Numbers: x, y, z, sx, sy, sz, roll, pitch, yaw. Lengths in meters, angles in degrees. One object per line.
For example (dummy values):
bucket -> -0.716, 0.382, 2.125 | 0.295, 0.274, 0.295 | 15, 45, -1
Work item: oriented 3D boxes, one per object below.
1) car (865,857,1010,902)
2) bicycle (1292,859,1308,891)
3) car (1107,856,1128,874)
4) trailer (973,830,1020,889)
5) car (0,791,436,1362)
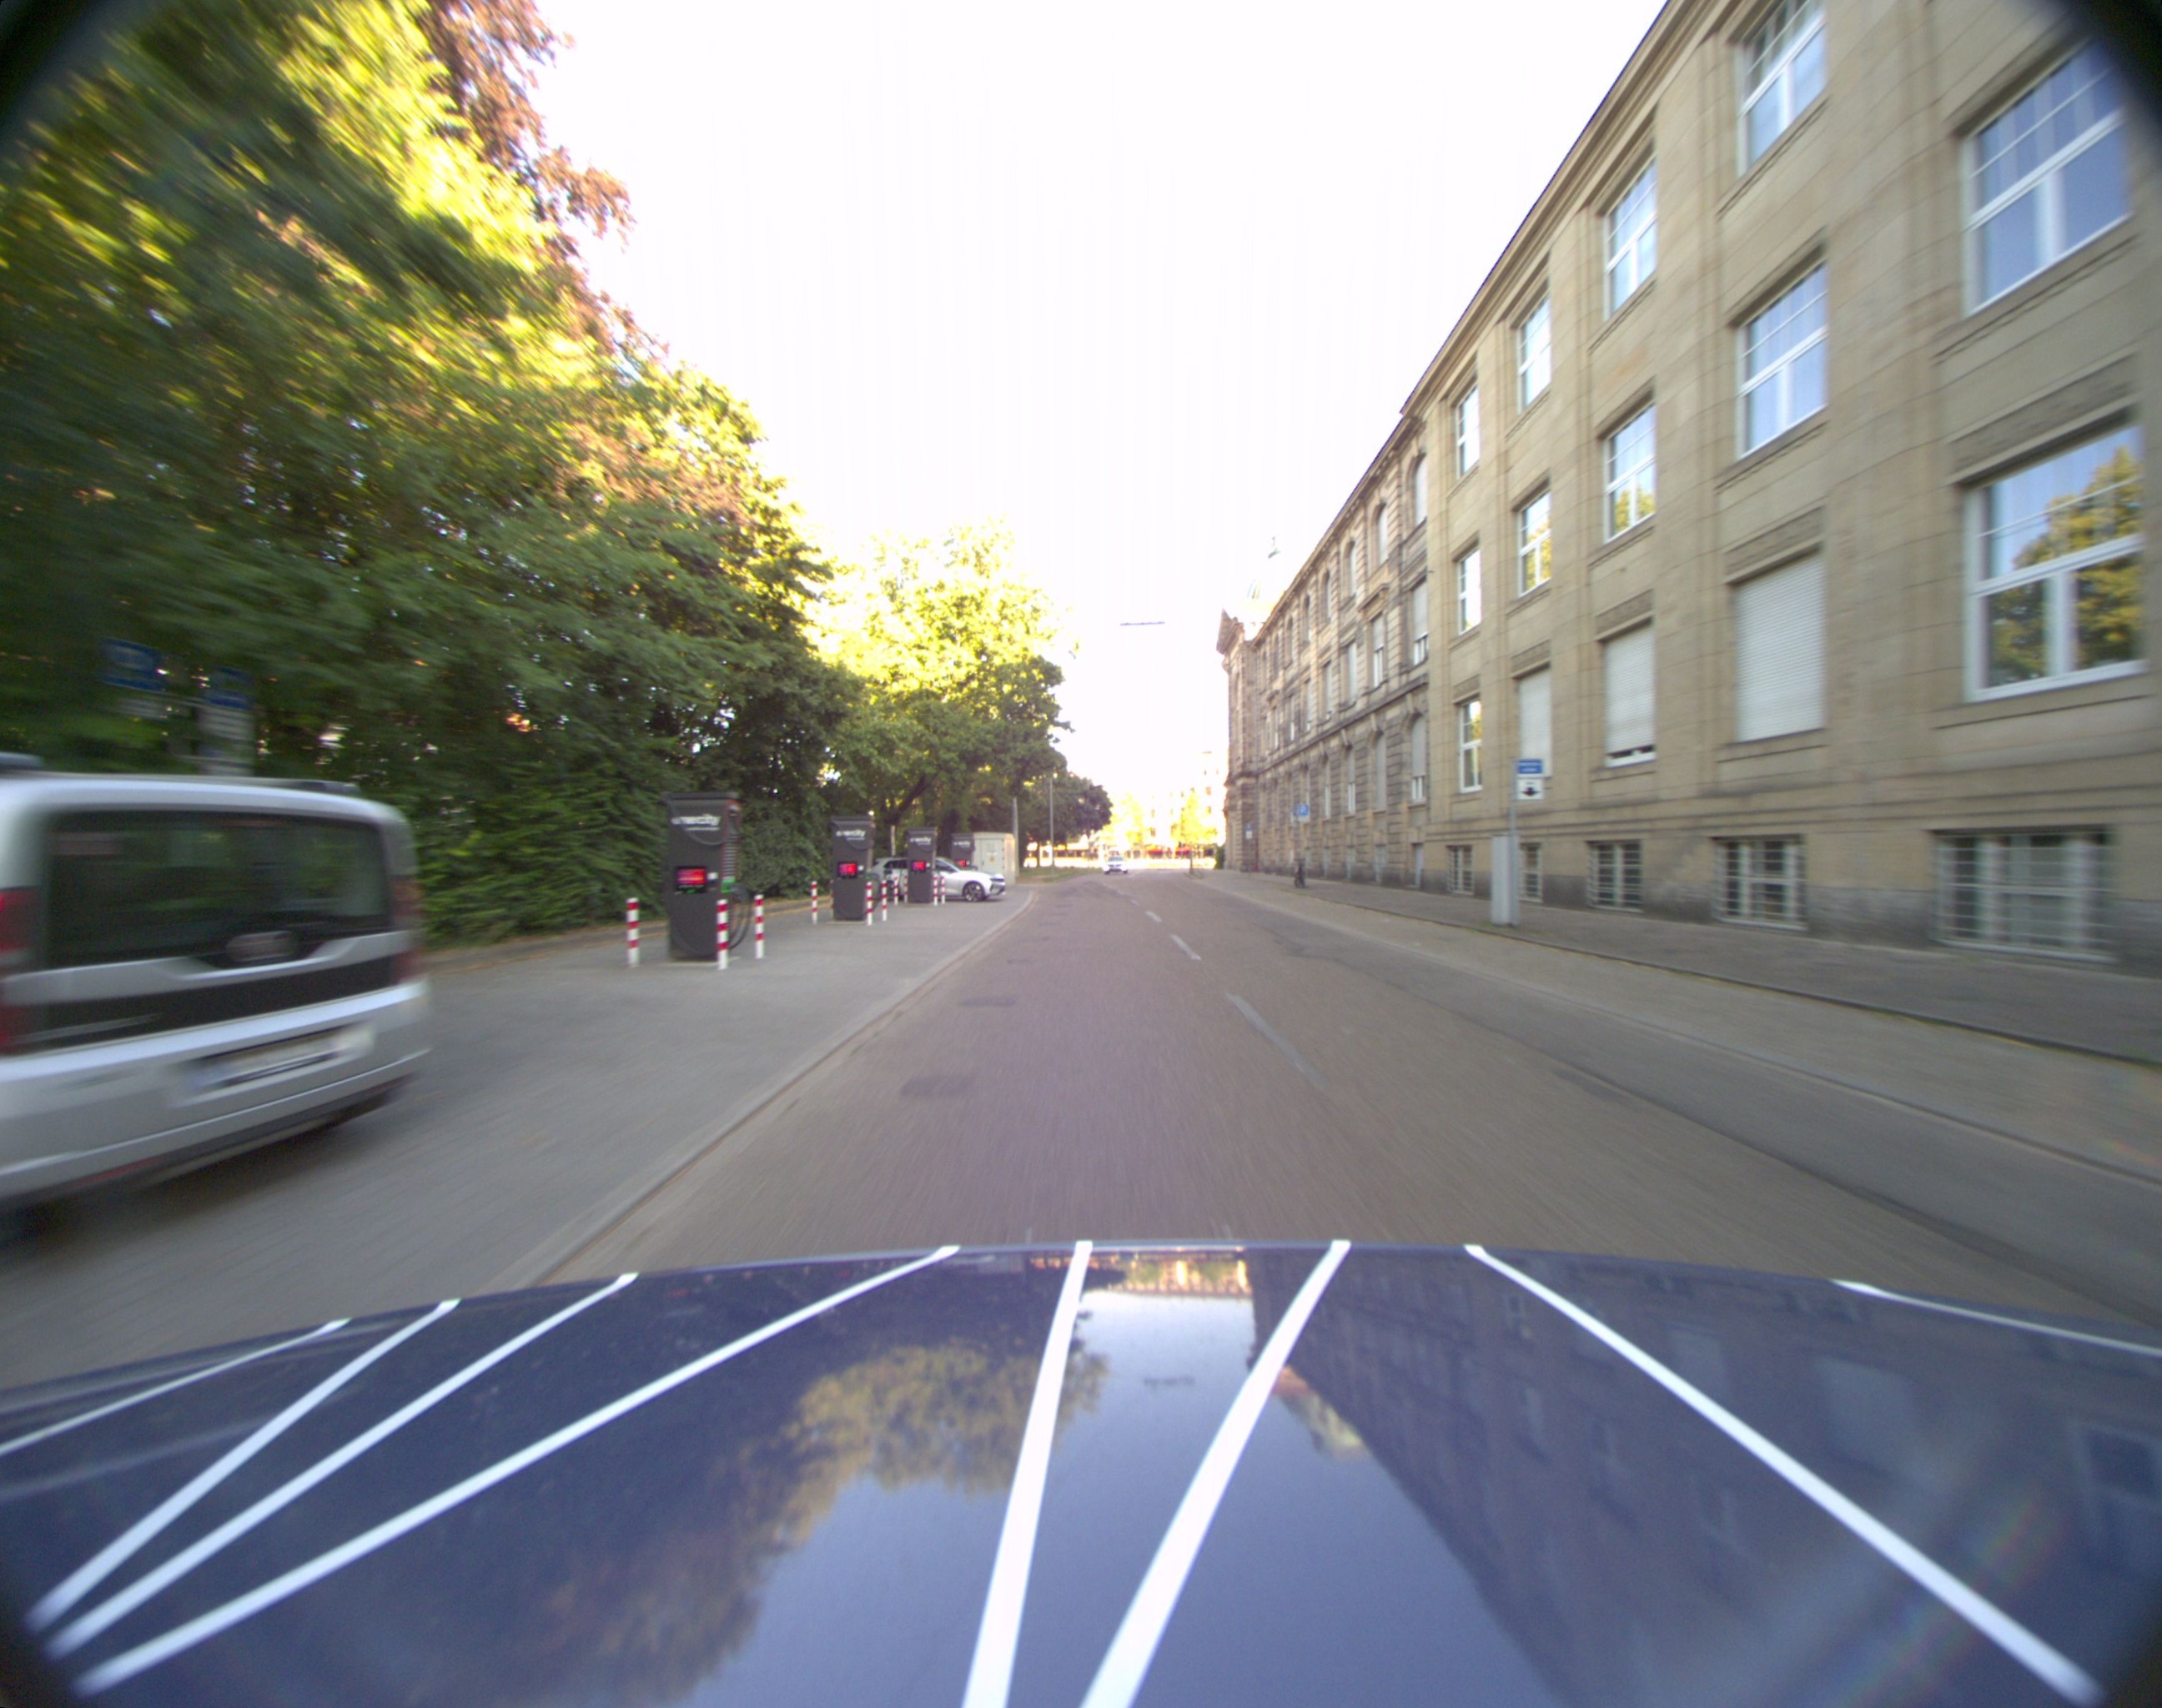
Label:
car -> -4.693, 0.820, 25.266 | 4.441, 1.458, 1.711 | 0, 0, 3
bicycle -> 8.654, 0.821, 30.068 | 0.457, 1.202, 1.879 | 0, 0, 11
car -> 3.110, 0.891, 63.872 | 1.687, 1.444, 4.104 | 0, 0, 4
trailer -> -3.910, 0.264, 35.676 | 1.601, 2.625, 3.703 | 0, 0, 3
car -> -5.296, 0.693, 3.247 | 3.609, 1.873, 1.784 | 1, 0, 3
